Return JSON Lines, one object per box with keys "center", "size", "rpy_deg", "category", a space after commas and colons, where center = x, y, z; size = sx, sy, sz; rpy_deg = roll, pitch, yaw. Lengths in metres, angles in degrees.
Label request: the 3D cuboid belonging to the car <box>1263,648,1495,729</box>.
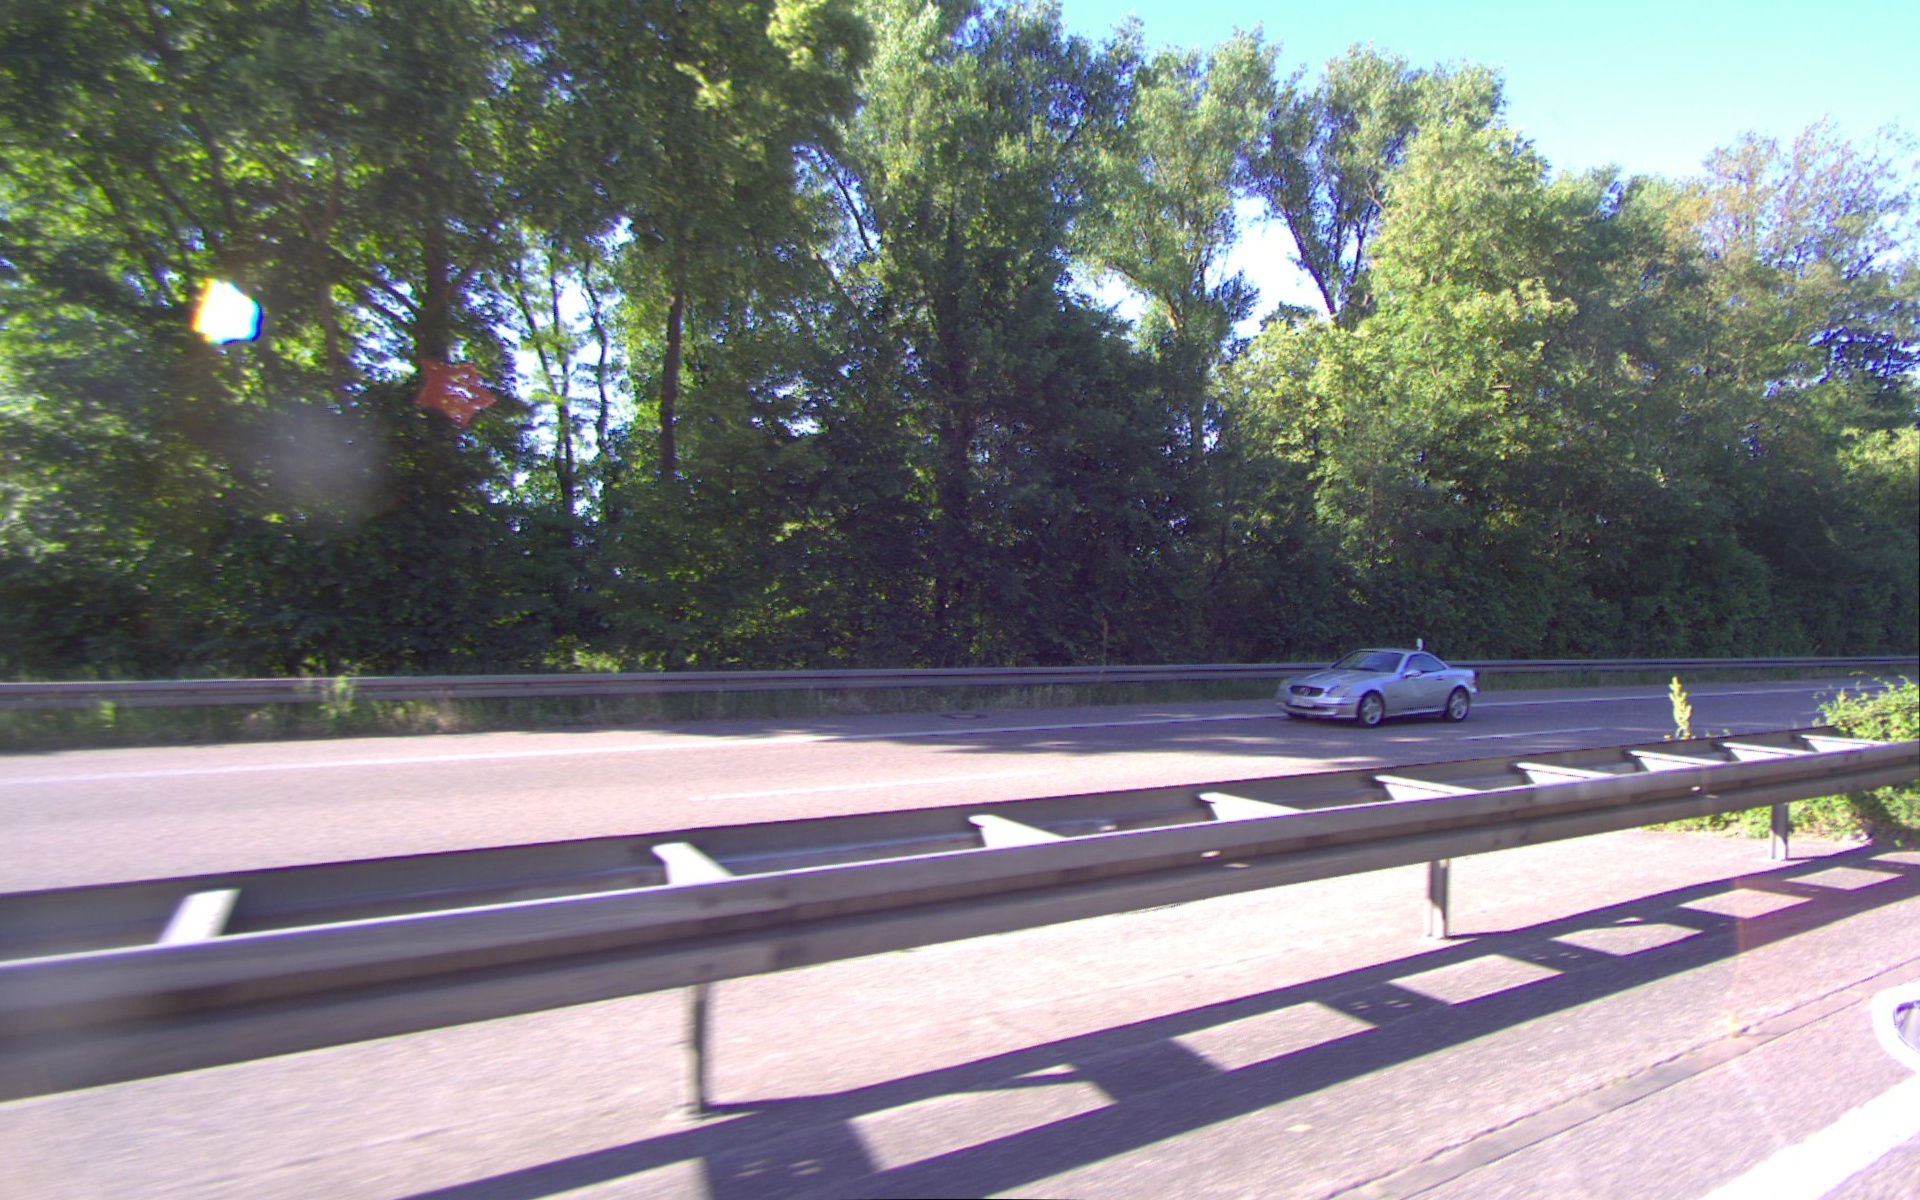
{"center": [7.546, 1.512, 17.996], "size": [4.213, 1.239, 1.637], "rpy_deg": [2, -1, -30], "category": "car"}
